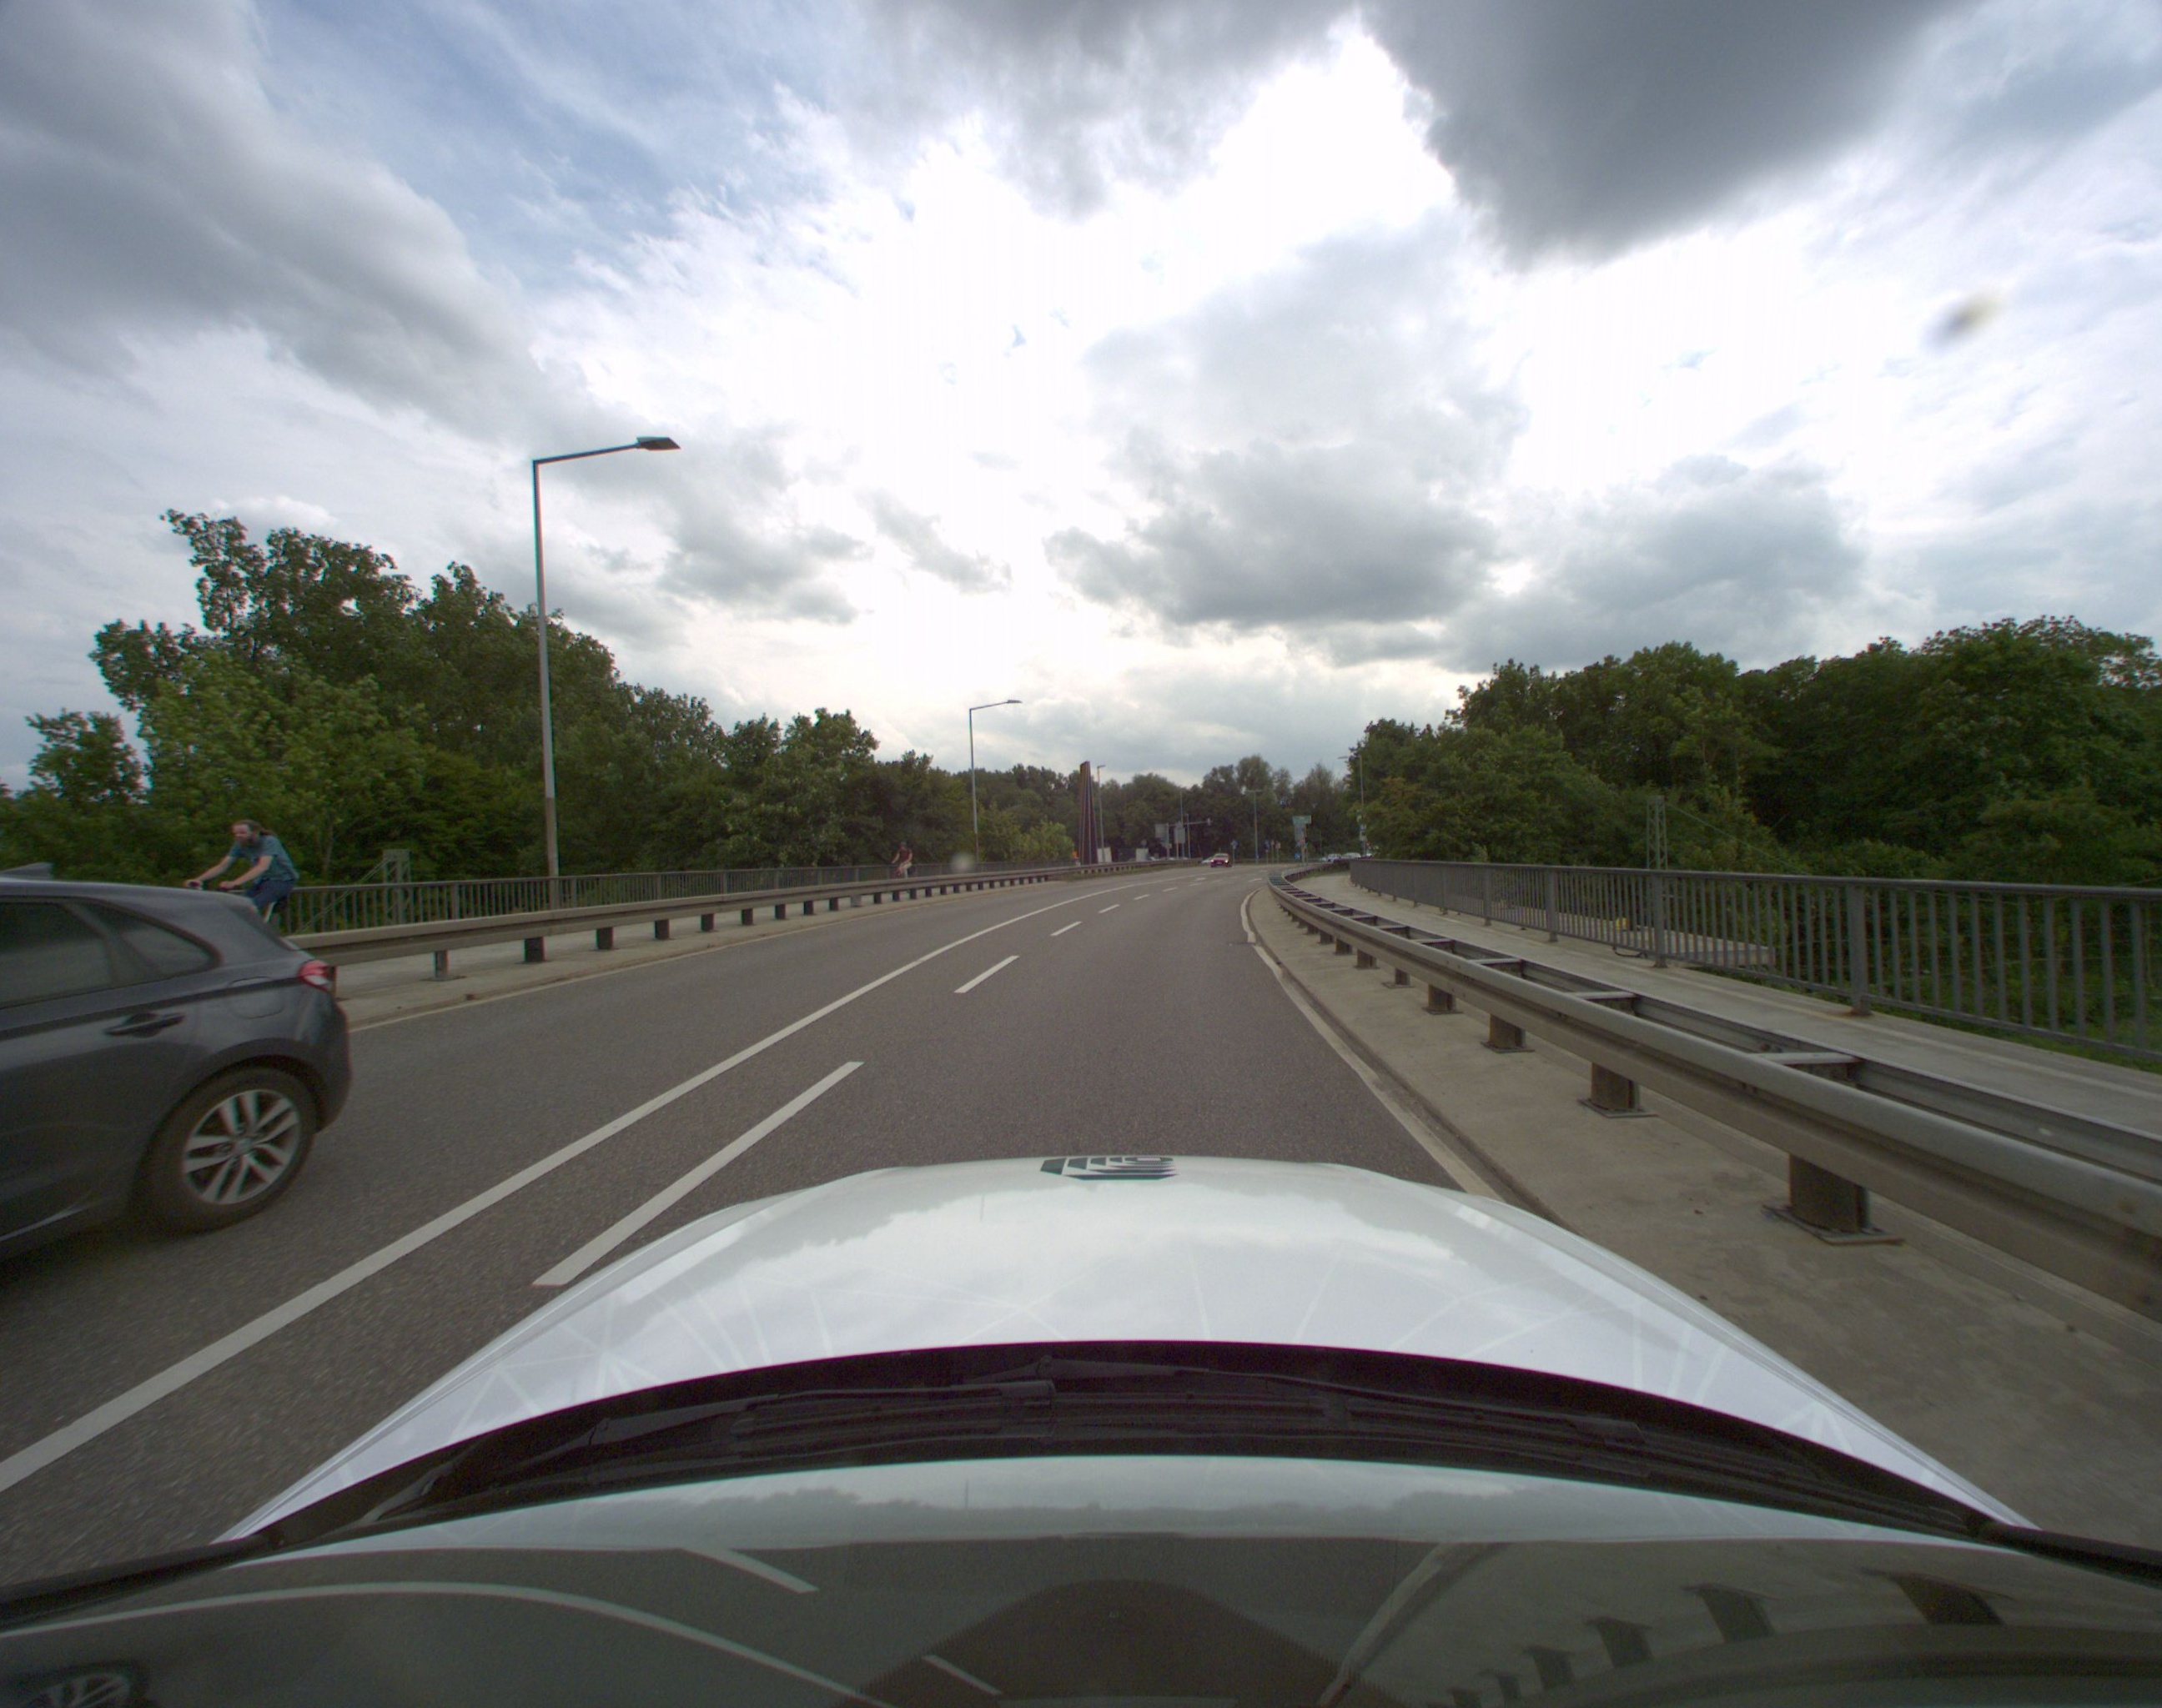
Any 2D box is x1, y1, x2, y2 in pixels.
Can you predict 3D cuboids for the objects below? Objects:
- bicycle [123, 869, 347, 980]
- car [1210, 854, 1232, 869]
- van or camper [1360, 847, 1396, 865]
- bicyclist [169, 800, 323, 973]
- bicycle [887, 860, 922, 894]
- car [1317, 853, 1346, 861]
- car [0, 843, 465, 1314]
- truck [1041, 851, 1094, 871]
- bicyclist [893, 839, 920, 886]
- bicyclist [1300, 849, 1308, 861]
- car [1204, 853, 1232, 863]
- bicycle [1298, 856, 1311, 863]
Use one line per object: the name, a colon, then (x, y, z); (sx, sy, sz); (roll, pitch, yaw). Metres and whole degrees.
bicycle: (-9.138, 0.709, 8.914); (0.644, 1.067, 1.760); (0, 0, -2)
car: (14.423, 0.746, 83.768); (1.782, 1.472, 4.654); (-1, 0, 15)
van or camper: (44.776, 0.256, 122.687); (6.530, 2.589, 2.141); (0, -1, -42)
bicyclist: (-9.131, 0.338, 8.940); (0.846, 1.808, 0.796); (0, -1, -2)
bicycle: (-6.259, 0.800, 28.975); (0.631, 1.174, 1.909); (-1, 0, 6)
car: (40.059, 0.465, 129.984); (4.232, 1.205, 1.983); (0, -1, -26)
car: (-4.300, 0.709, 2.234); (1.802, 1.477, 4.383); (0, 0, 1)
truck: (-2.297, 1.086, 130.746); (9.160, 3.135, 2.989); (-1, -1, 45)
bicyclist: (-6.205, 0.304, 28.973); (0.767, 1.631, 0.651); (-1, -2, 8)
bicyclist: (33.063, 0.161, 120.729); (0.804, 1.735, 0.737); (0, -2, -34)
car: (21.618, 0.643, 128.726); (3.975, 1.552, 1.999); (0, -1, -1)
bicycle: (33.110, 0.824, 120.693); (0.711, 1.053, 1.923); (0, -3, -34)
